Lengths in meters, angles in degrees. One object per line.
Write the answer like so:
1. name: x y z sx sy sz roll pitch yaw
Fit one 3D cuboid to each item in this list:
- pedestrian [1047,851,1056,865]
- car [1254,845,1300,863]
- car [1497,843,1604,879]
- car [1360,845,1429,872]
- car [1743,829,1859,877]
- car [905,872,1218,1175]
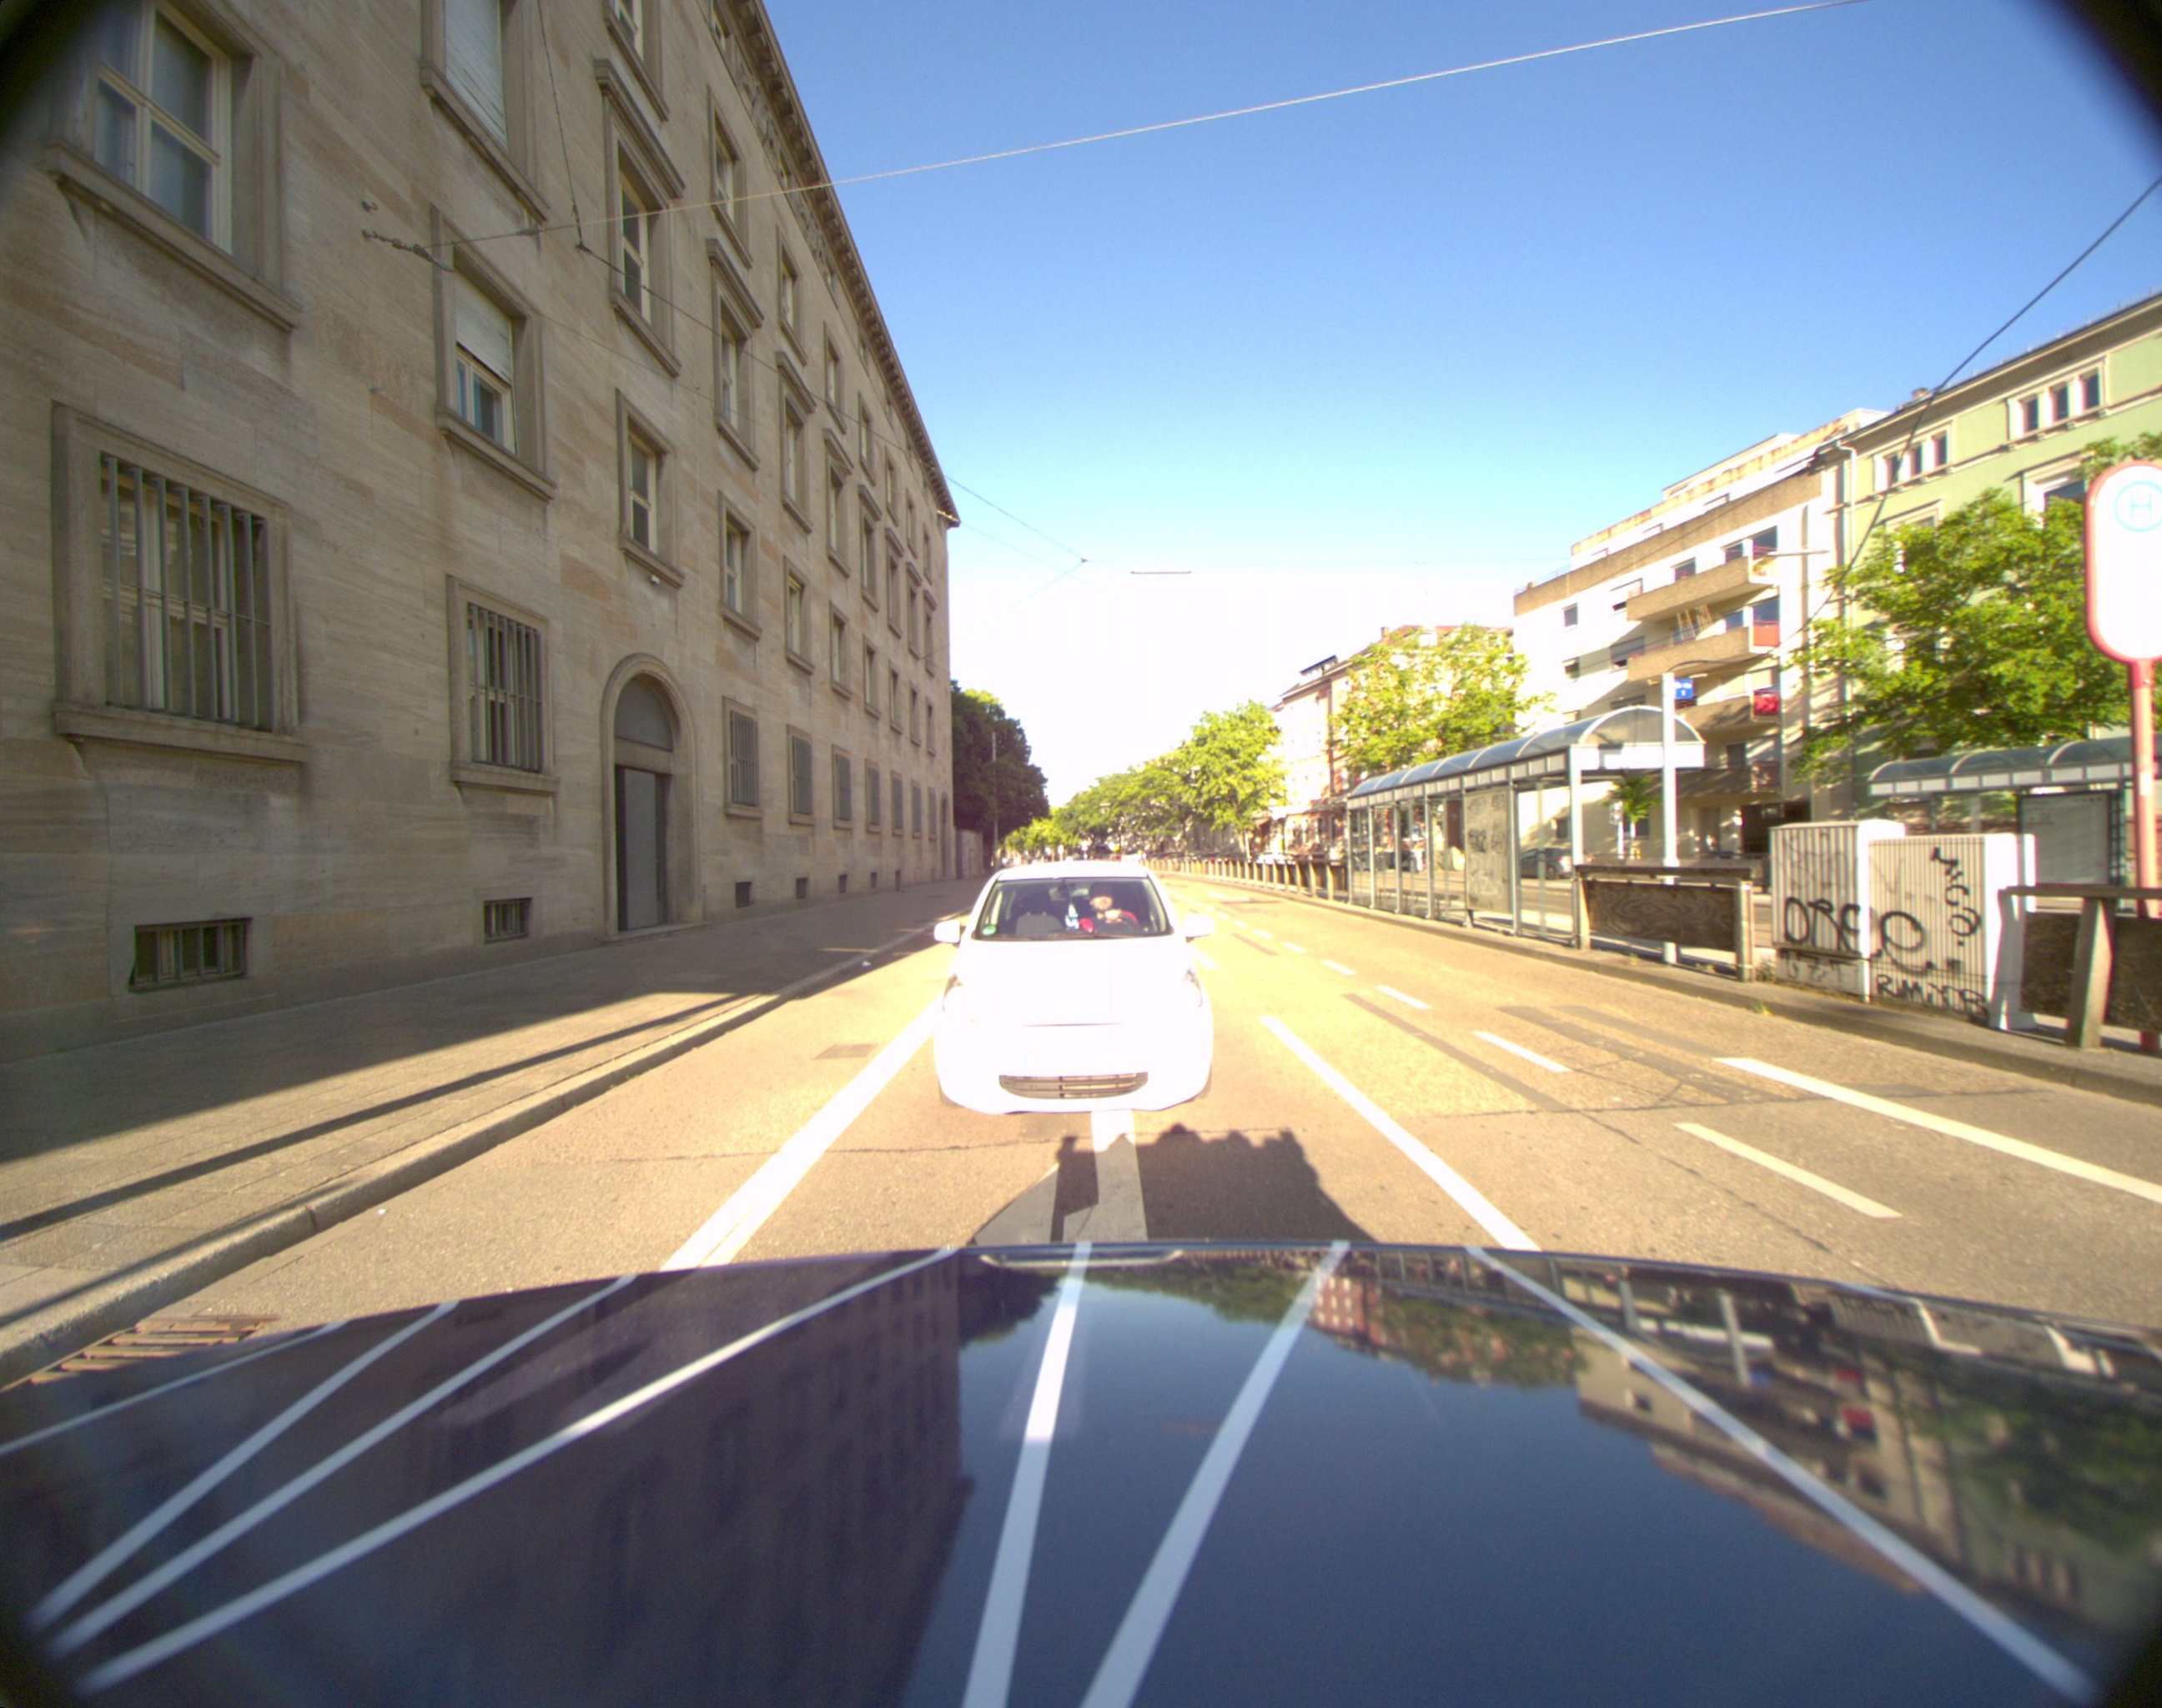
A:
1. pedestrian: -3.551 0.531 91.784 0.685 1.673 0.930 -1 1 21
2. car: 16.336 0.001 63.295 3.648 1.342 1.578 -2 1 -29
3. car: 20.949 0.280 34.096 2.000 1.521 3.997 0 0 -8
4. car: 18.392 0.256 44.801 2.000 1.521 3.997 -1 0 -8
5. car: 31.656 -0.053 33.437 4.001 2.002 1.798 -1 1 -13
6. car: -0.076 0.939 5.797 1.606 1.455 3.621 -1 0 1
